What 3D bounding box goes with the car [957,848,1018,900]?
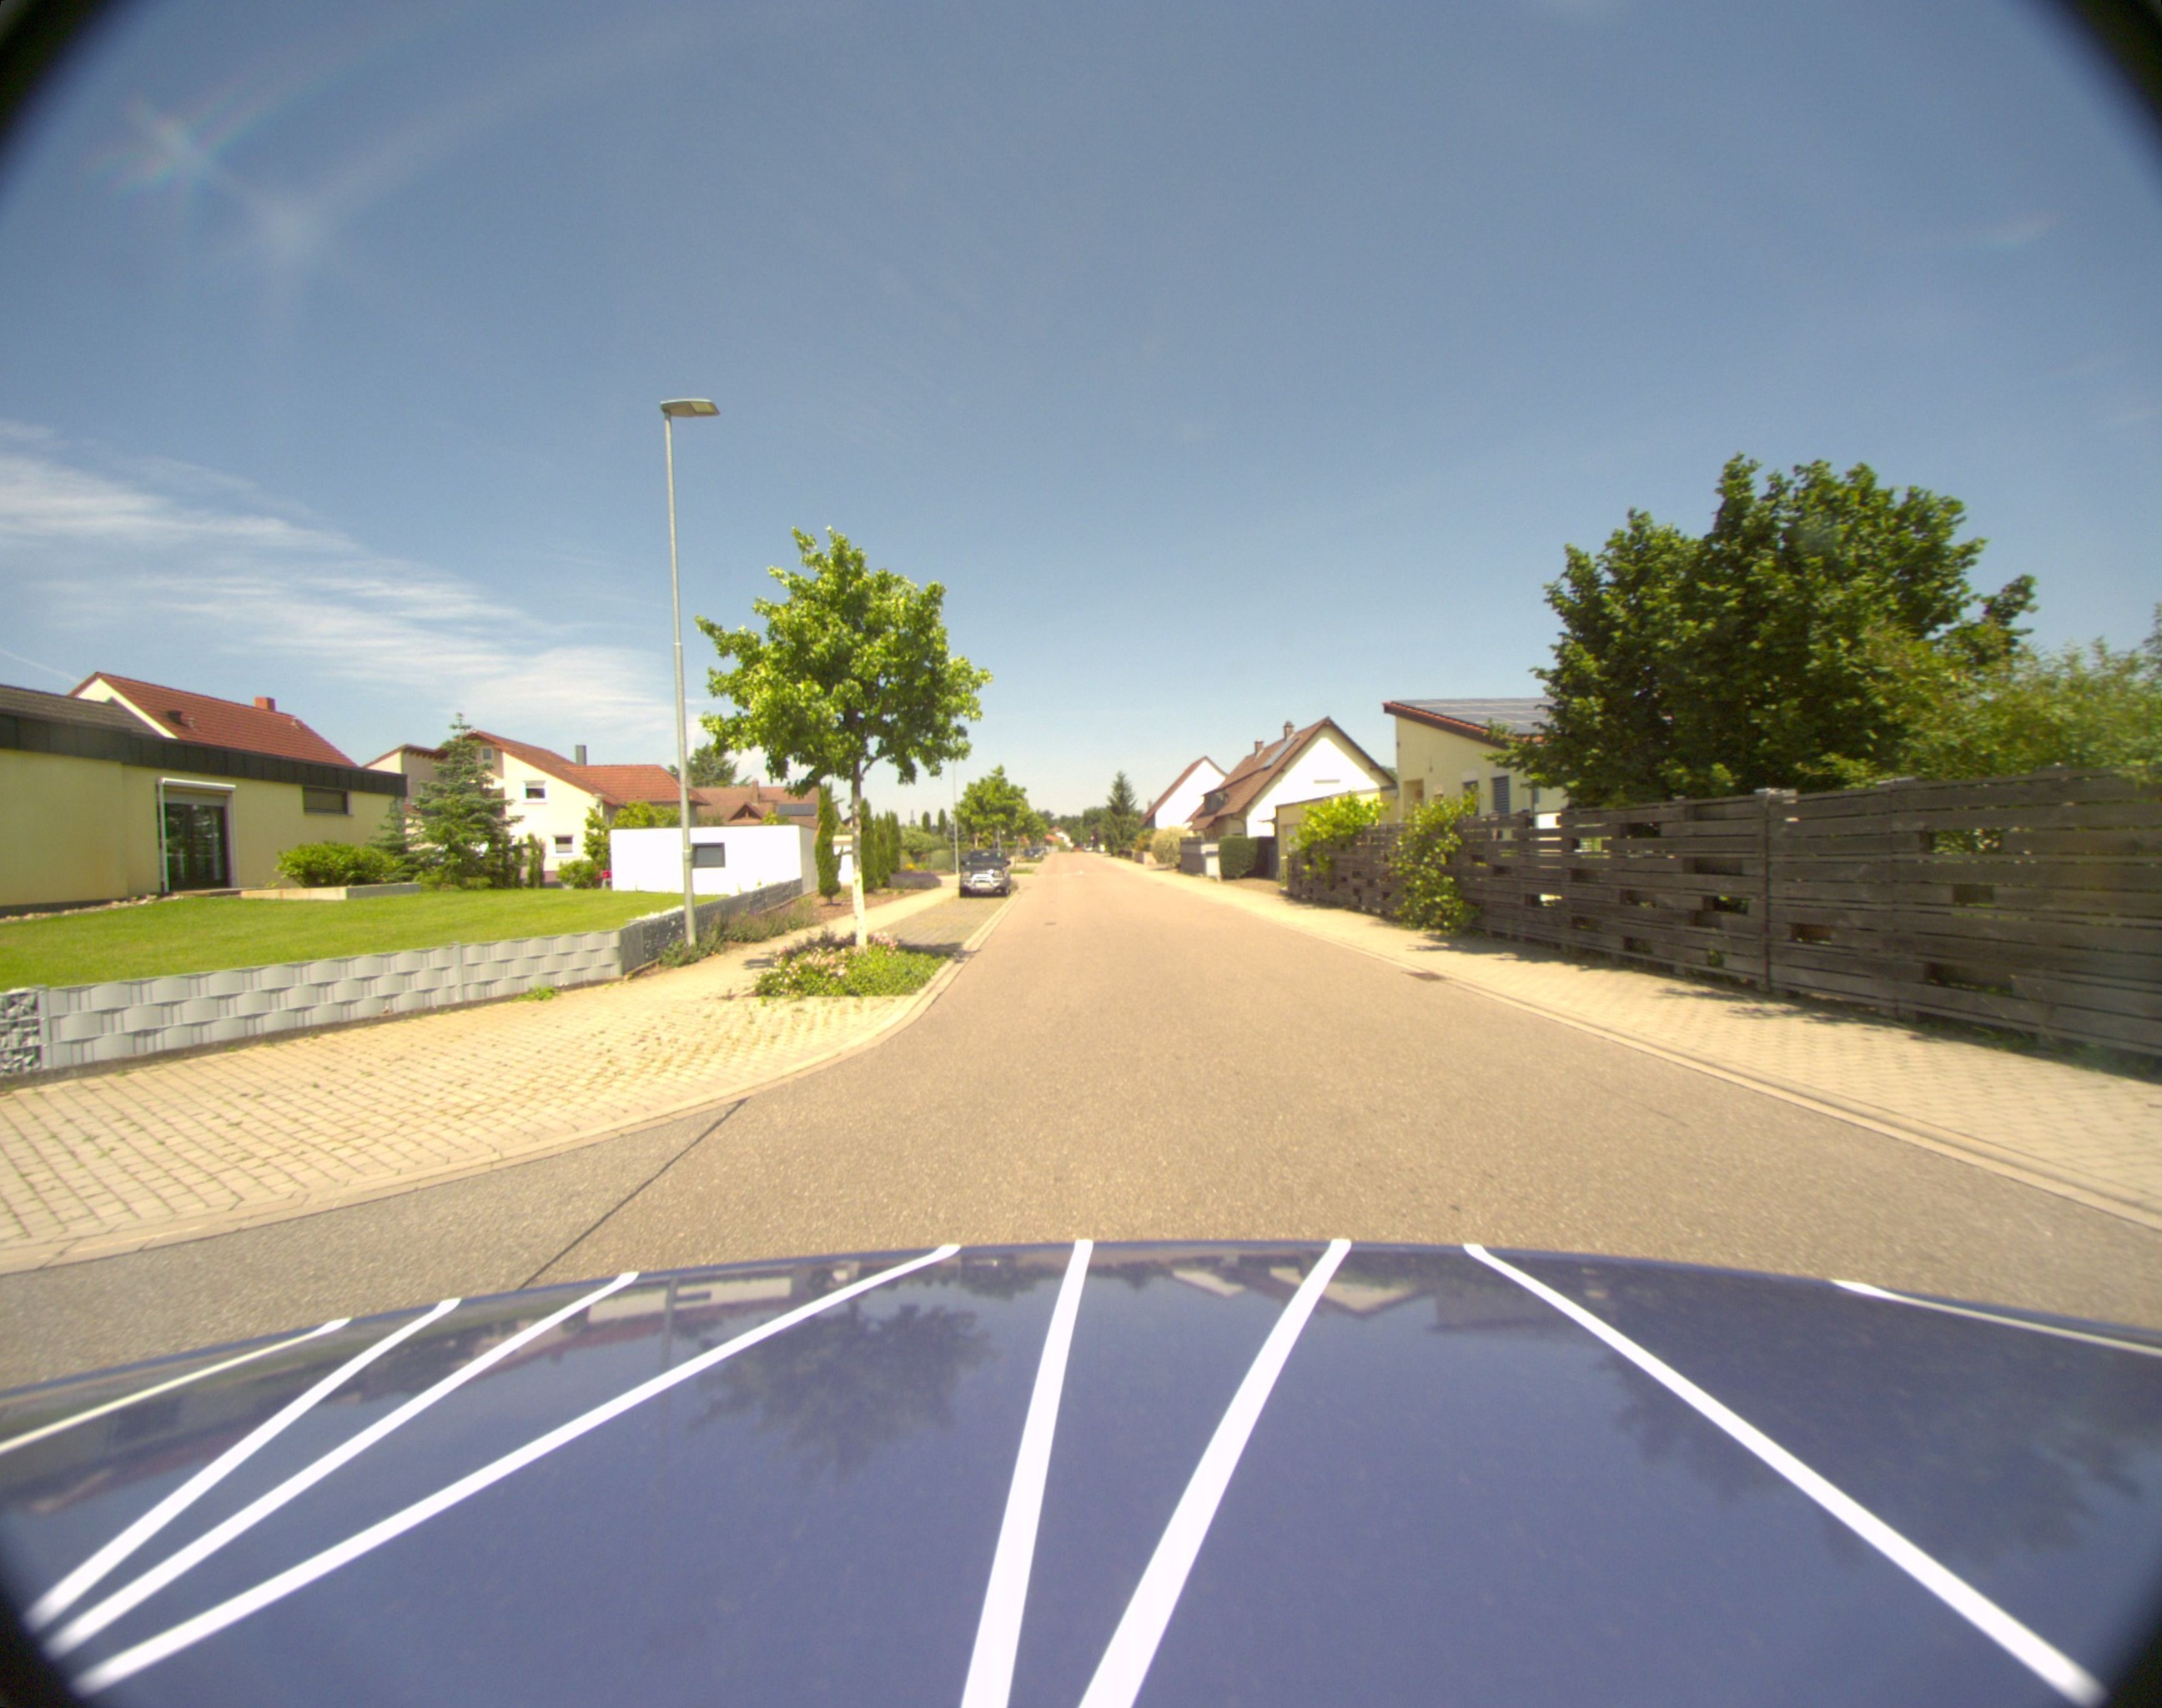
[{"bbox_3d":[-3.249,0.638,26.987,1.598,1.630,3.802,-2,1,1],"label":"car"}]
